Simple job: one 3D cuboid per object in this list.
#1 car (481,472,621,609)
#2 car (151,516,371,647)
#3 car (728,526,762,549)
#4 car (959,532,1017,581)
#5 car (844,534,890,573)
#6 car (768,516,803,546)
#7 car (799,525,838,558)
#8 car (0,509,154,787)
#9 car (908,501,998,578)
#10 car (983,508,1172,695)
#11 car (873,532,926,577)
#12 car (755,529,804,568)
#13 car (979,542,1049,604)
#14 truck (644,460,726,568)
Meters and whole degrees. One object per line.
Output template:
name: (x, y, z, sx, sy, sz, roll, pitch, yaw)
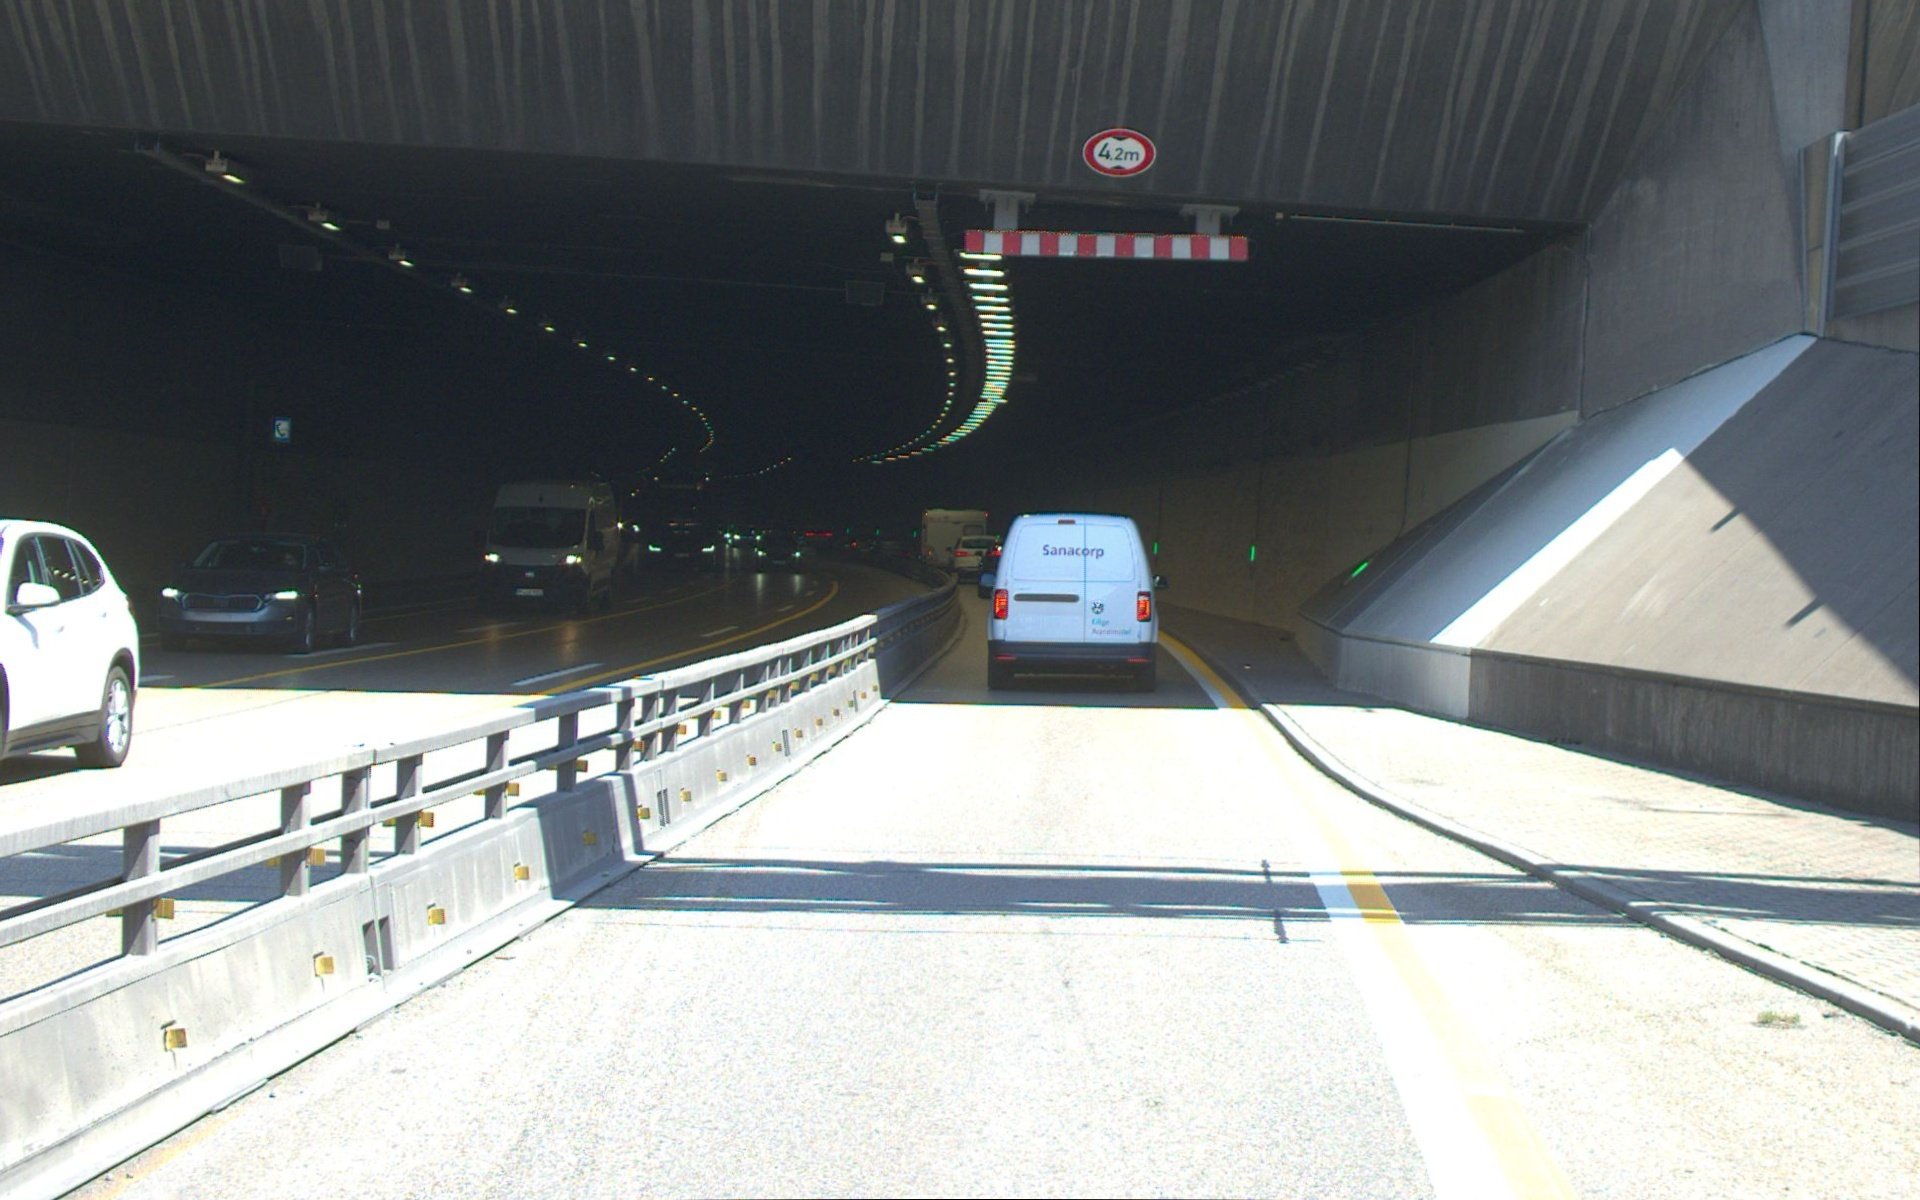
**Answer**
car: (-7.816, -1.160, 66.229, 1.993, 2.506, 6.042, 1, 1, 0)
car: (-8.587, -0.267, 42.588, 1.773, 1.510, 4.564, 1, 1, 0)
car: (-14.012, -4.091, 223.901, 1.821, 1.451, 4.094, 1, 1, -9)
car: (0.912, -1.431, 112.124, 1.598, 1.541, 3.678, 1, 1, -4)
car: (-4.961, -2.488, 183.196, 1.939, 2.014, 4.663, 1, 1, -8)
car: (-12.174, -4.811, 239.445, 2.072, 2.014, 4.663, 1, 1, -8)
car: (-8.879, -3.701, 215.430, 1.939, 2.014, 4.663, 1, 1, -8)
car: (-6.297, 0.235, 20.697, 1.773, 1.572, 4.446, 1, 1, 1)
car: (-0.311, -2.344, 131.420, 2.813, 2.764, 7.103, 3, 1, -4)
car: (1.210, 0.003, 36.362, 1.808, 1.788, 3.731, 3, 0, 1)
car: (-2.984, -2.229, 167.641, 2.034, 2.014, 4.632, 5, 1, -6)
car: (-6.967, -1.999, 132.340, 1.821, 1.451, 4.094, 1, 1, -4)
car: (1.380, -0.718, 89.078, 1.598, 1.541, 3.678, 2, 1, -1)
truck: (-10.270, -3.221, 128.941, 2.810, 3.902, 6.456, 1, 1, -3)
